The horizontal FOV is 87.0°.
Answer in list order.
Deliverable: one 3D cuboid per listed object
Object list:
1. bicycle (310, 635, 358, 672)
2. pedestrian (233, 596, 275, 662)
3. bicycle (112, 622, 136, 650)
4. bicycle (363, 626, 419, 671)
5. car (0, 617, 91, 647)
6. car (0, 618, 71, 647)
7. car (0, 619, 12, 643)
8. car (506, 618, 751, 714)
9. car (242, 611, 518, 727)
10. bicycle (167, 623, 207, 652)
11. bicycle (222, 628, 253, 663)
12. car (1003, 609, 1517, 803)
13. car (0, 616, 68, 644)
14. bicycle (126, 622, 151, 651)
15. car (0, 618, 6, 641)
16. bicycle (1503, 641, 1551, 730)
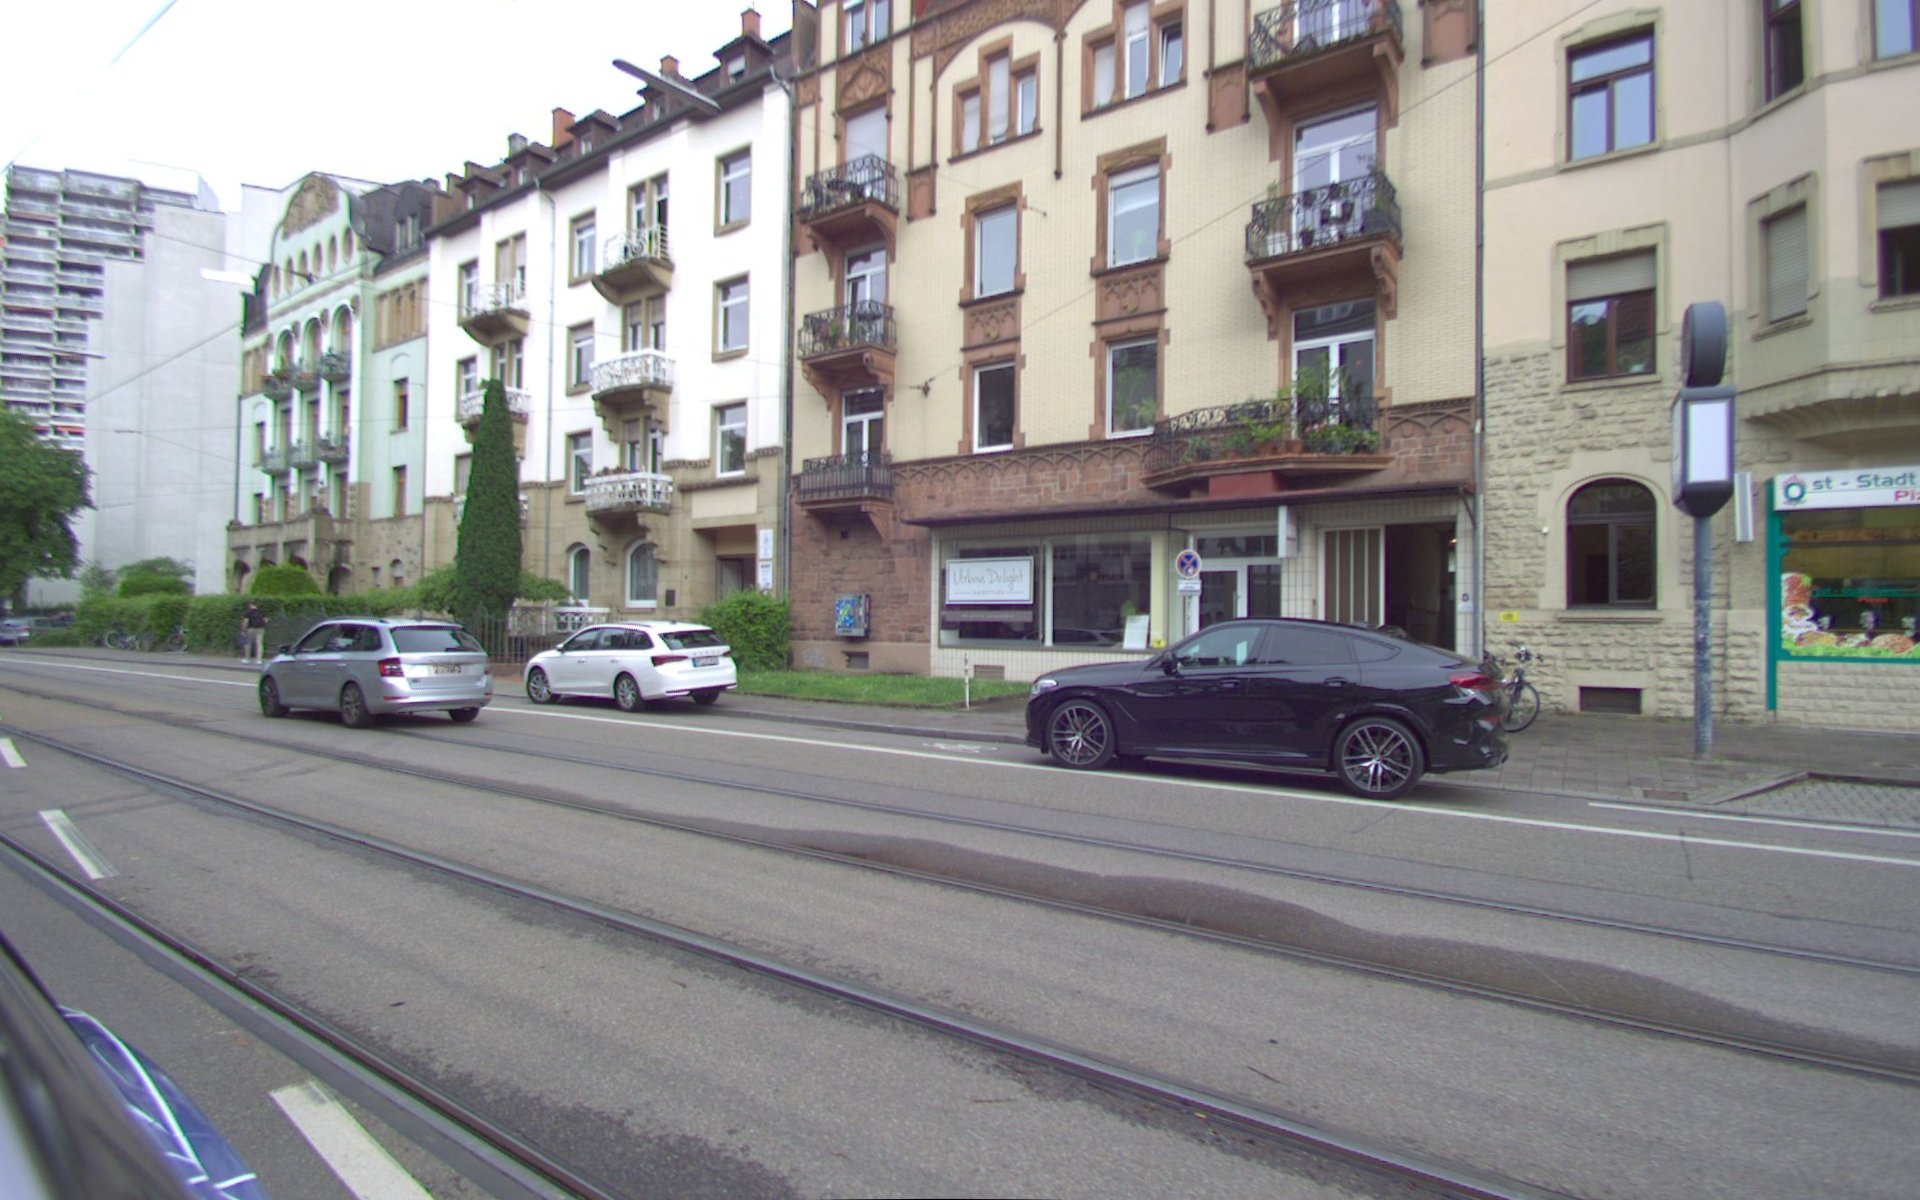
[{"bbox_3d":[-17.682,1.505,28.563,1.659,0.935,0.355,-2,-22,39],"label":"bicycle"},{"bbox_3d":[-20.234,0.833,29.003,0.880,1.858,0.662,-1,-3,36],"label":"pedestrian"},{"bbox_3d":[-33.167,1.433,40.146,1.544,1.092,0.356,-1,-2,37],"label":"bicycle"},{"bbox_3d":[-14.704,1.248,26.152,1.616,1.110,0.382,0,-2,26],"label":"bicycle"},{"bbox_3d":[-45.040,1.565,49.542,1.670,1.414,4.002,1,-2,-3],"label":"car"},{"bbox_3d":[-47.404,1.636,51.101,1.670,1.414,4.002,1,-2,-3],"label":"car"},{"bbox_3d":[-58.000,1.801,59.167,1.669,1.405,4.006,1,-2,-7],"label":"car"},{"bbox_3d":[-5.909,1.080,17.797,4.600,1.496,1.731,-1,-2,36],"label":"car"},{"bbox_3d":[-8.210,0.900,14.238,3.987,1.421,1.676,0,-3,33],"label":"car"},{"bbox_3d":[-29.792,1.437,39.029,0.300,1.091,1.191,-1,0,38],"label":"bicycle"},{"bbox_3d":[-23.417,1.468,32.793,1.544,1.092,0.356,-1,-2,37],"label":"bicycle"},{"bbox_3d":[3.053,0.977,10.634,4.866,1.624,1.870,0,-4,29],"label":"car"},{"bbox_3d":[-49.634,1.575,53.403,1.670,1.414,4.002,1,-2,-3],"label":"car"},{"bbox_3d":[-31.654,1.394,38.990,1.544,1.092,0.356,-1,-2,37],"label":"bicycle"},{"bbox_3d":[-60.293,1.780,61.188,1.669,1.453,4.006,1,-2,-7],"label":"car"},{"bbox_3d":[7.950,1.153,14.235,0.546,1.017,2.343,-1,1,28],"label":"bicycle"}]
